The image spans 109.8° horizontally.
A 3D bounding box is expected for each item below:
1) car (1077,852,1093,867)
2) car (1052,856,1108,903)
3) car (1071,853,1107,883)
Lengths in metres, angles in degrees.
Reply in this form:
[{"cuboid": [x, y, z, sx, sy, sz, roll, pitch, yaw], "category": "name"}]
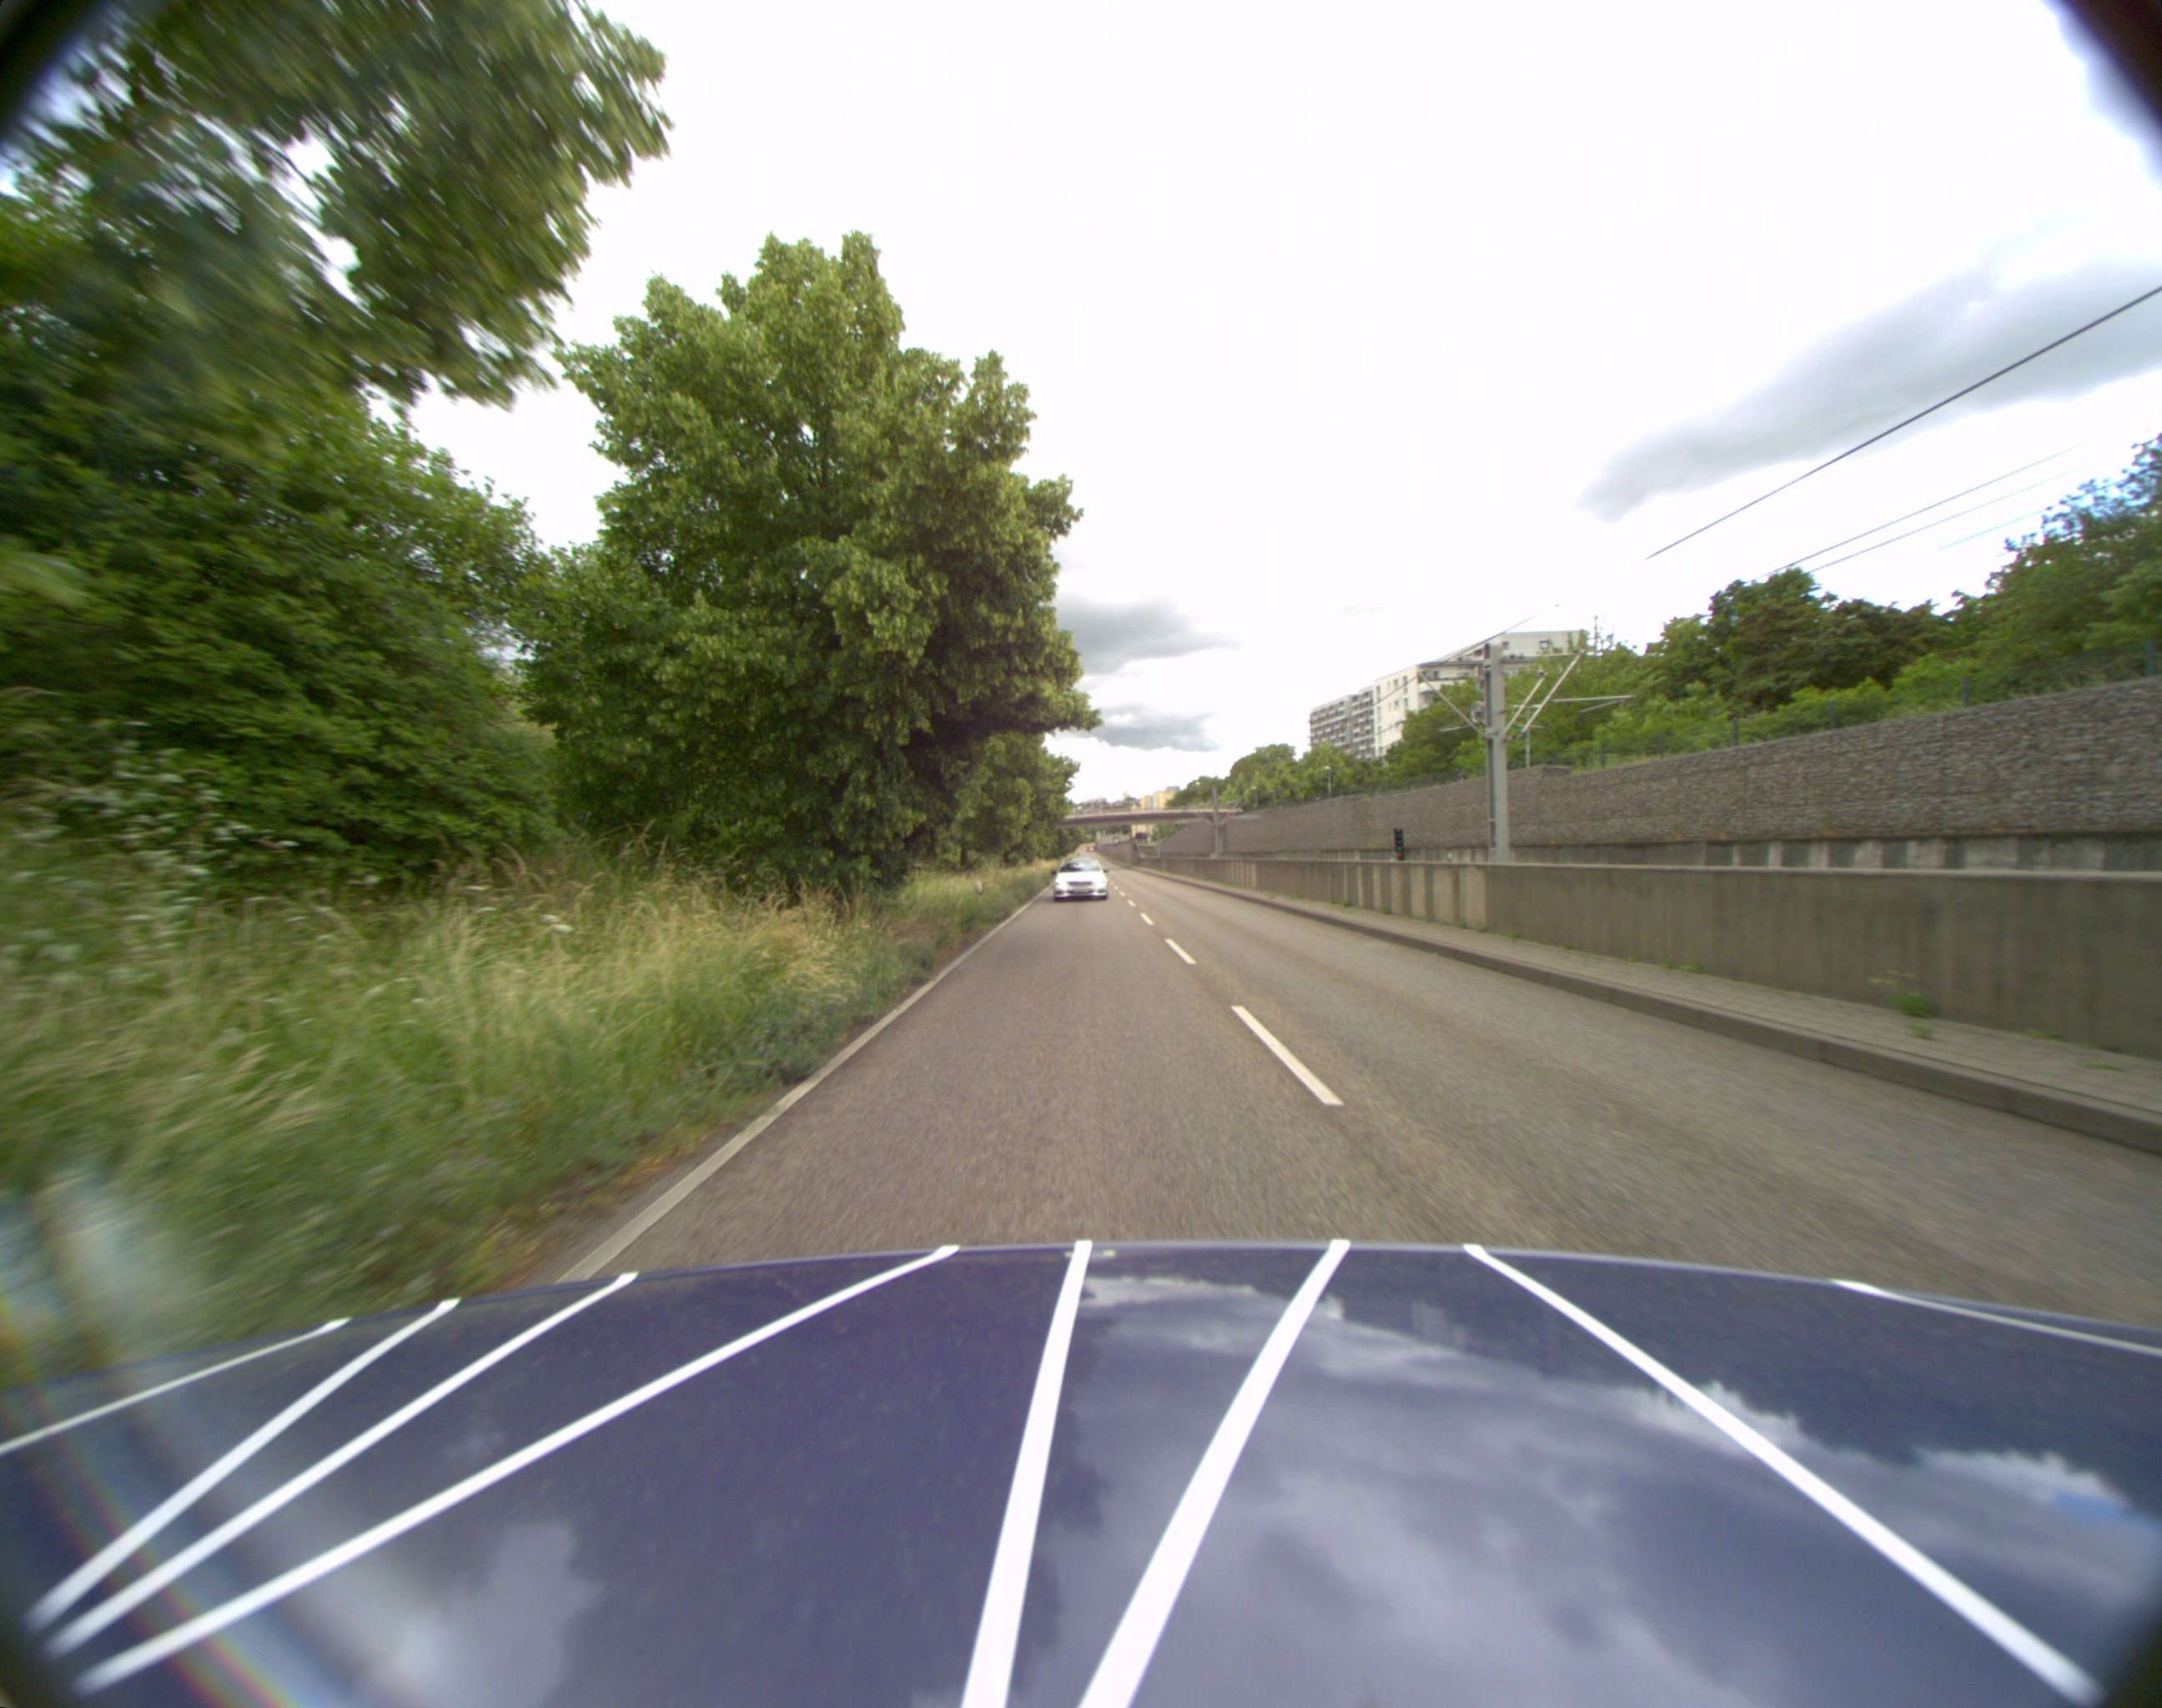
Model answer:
[{"cuboid": [0.520, 0.686, 95.859, 1.998, 1.746, 4.000, -2, 0, 1], "category": "car"}, {"cuboid": [-0.011, 0.872, 27.739, 1.842, 1.499, 4.160, -1, 0, 1], "category": "car"}, {"cuboid": [0.438, 0.747, 42.647, 1.878, 1.459, 3.999, -2, 1, 1], "category": "car"}]
